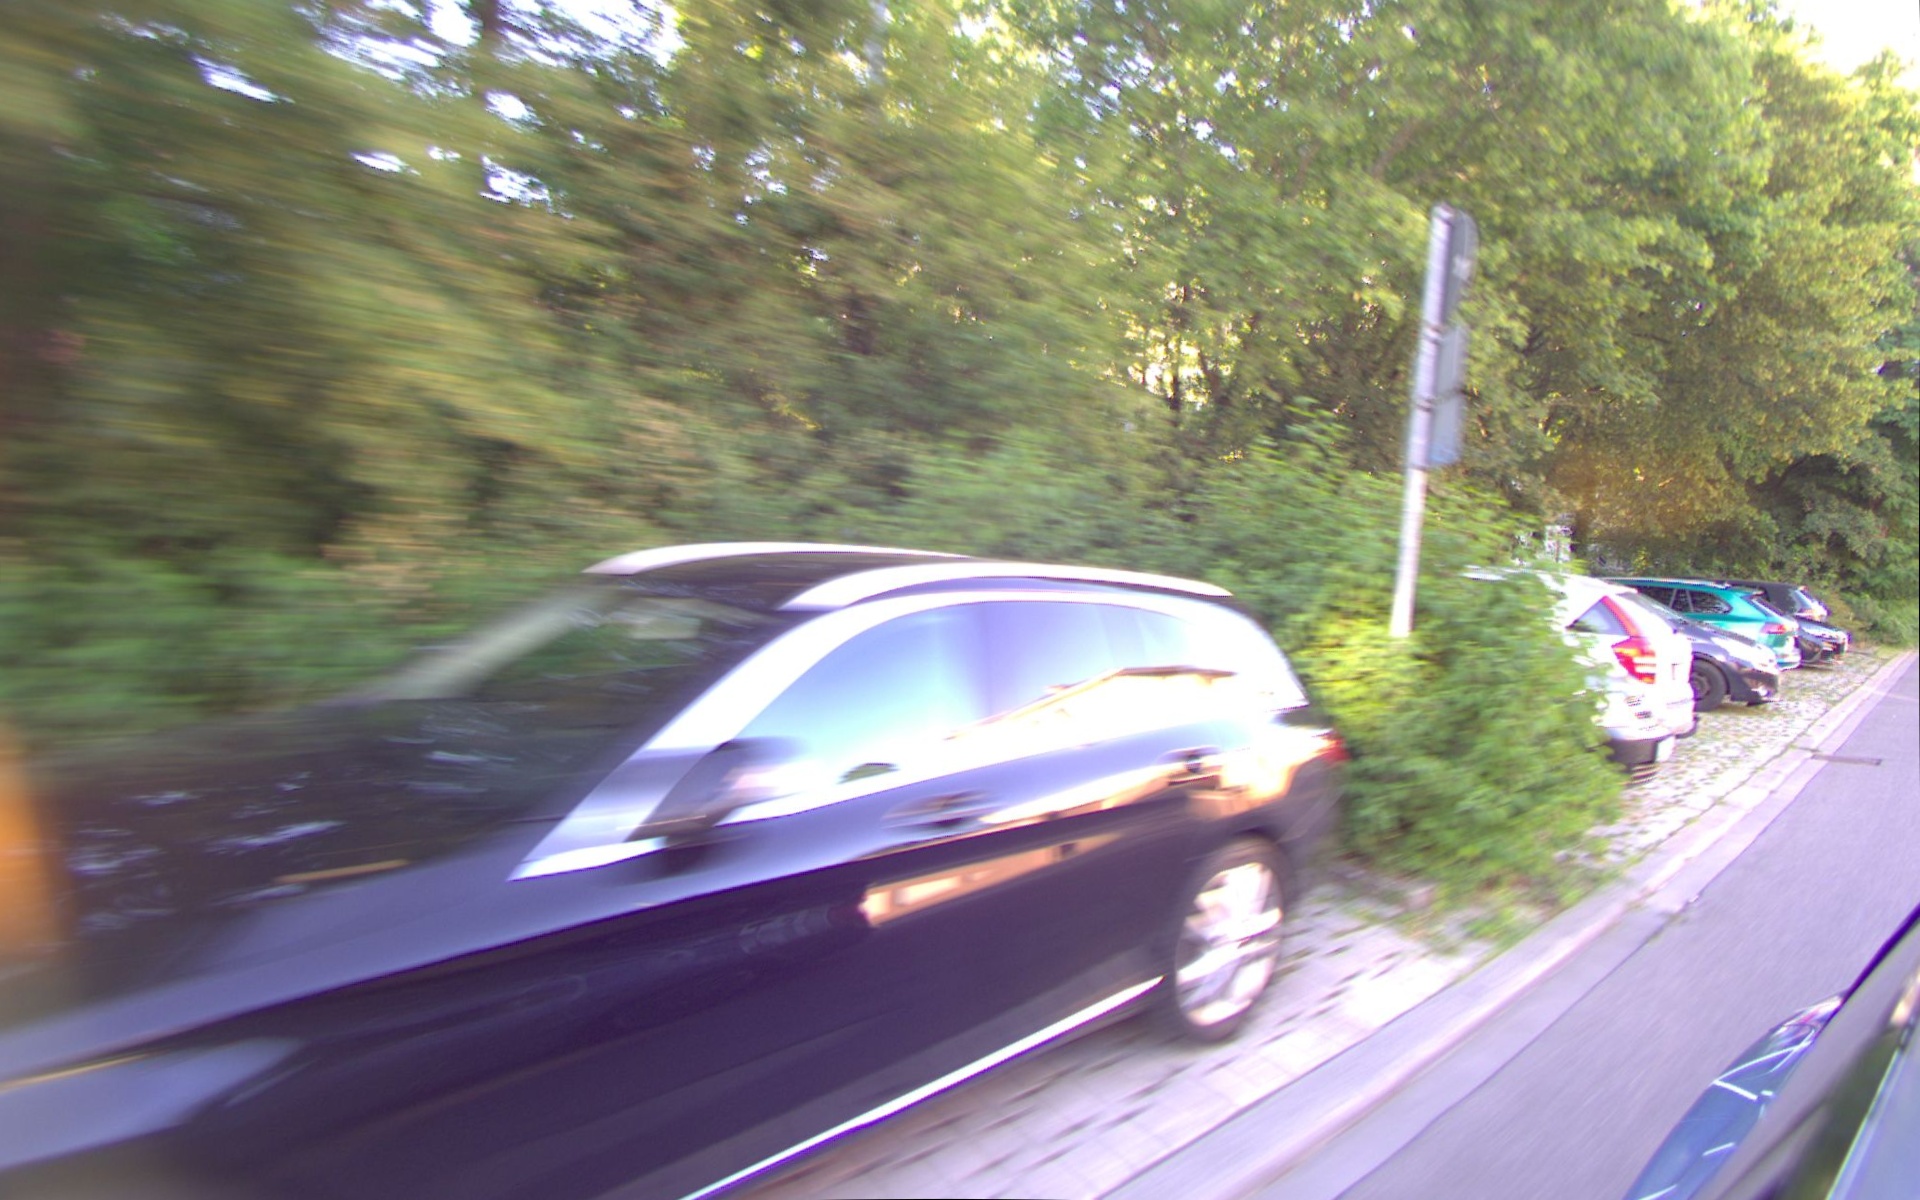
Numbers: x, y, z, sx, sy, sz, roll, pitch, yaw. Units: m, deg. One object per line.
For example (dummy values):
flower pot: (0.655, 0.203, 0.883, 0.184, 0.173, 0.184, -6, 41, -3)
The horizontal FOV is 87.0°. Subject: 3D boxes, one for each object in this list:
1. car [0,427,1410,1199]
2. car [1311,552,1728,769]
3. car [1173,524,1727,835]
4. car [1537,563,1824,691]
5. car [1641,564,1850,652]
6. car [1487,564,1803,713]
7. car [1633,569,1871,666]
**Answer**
car: (-0.642, 0.493, 2.786, 4.432, 1.504, 1.751, -1, 3, -42)
car: (4.921, 0.394, 9.135, 1.593, 1.547, 2.868, 0, 3, -40)
car: (3.436, 0.356, 7.481, 1.651, 1.745, 3.261, 0, 3, -42)
car: (10.373, 0.300, 14.701, 1.503, 1.547, 3.115, 0, 3, -43)
car: (15.816, 0.114, 20.490, 1.500, 1.546, 2.990, 0, 3, -35)
car: (8.592, 0.376, 12.827, 3.105, 1.547, 1.599, 4, 3, 39)
car: (14.151, 0.244, 18.181, 1.503, 1.478, 3.115, 0, 3, -42)
